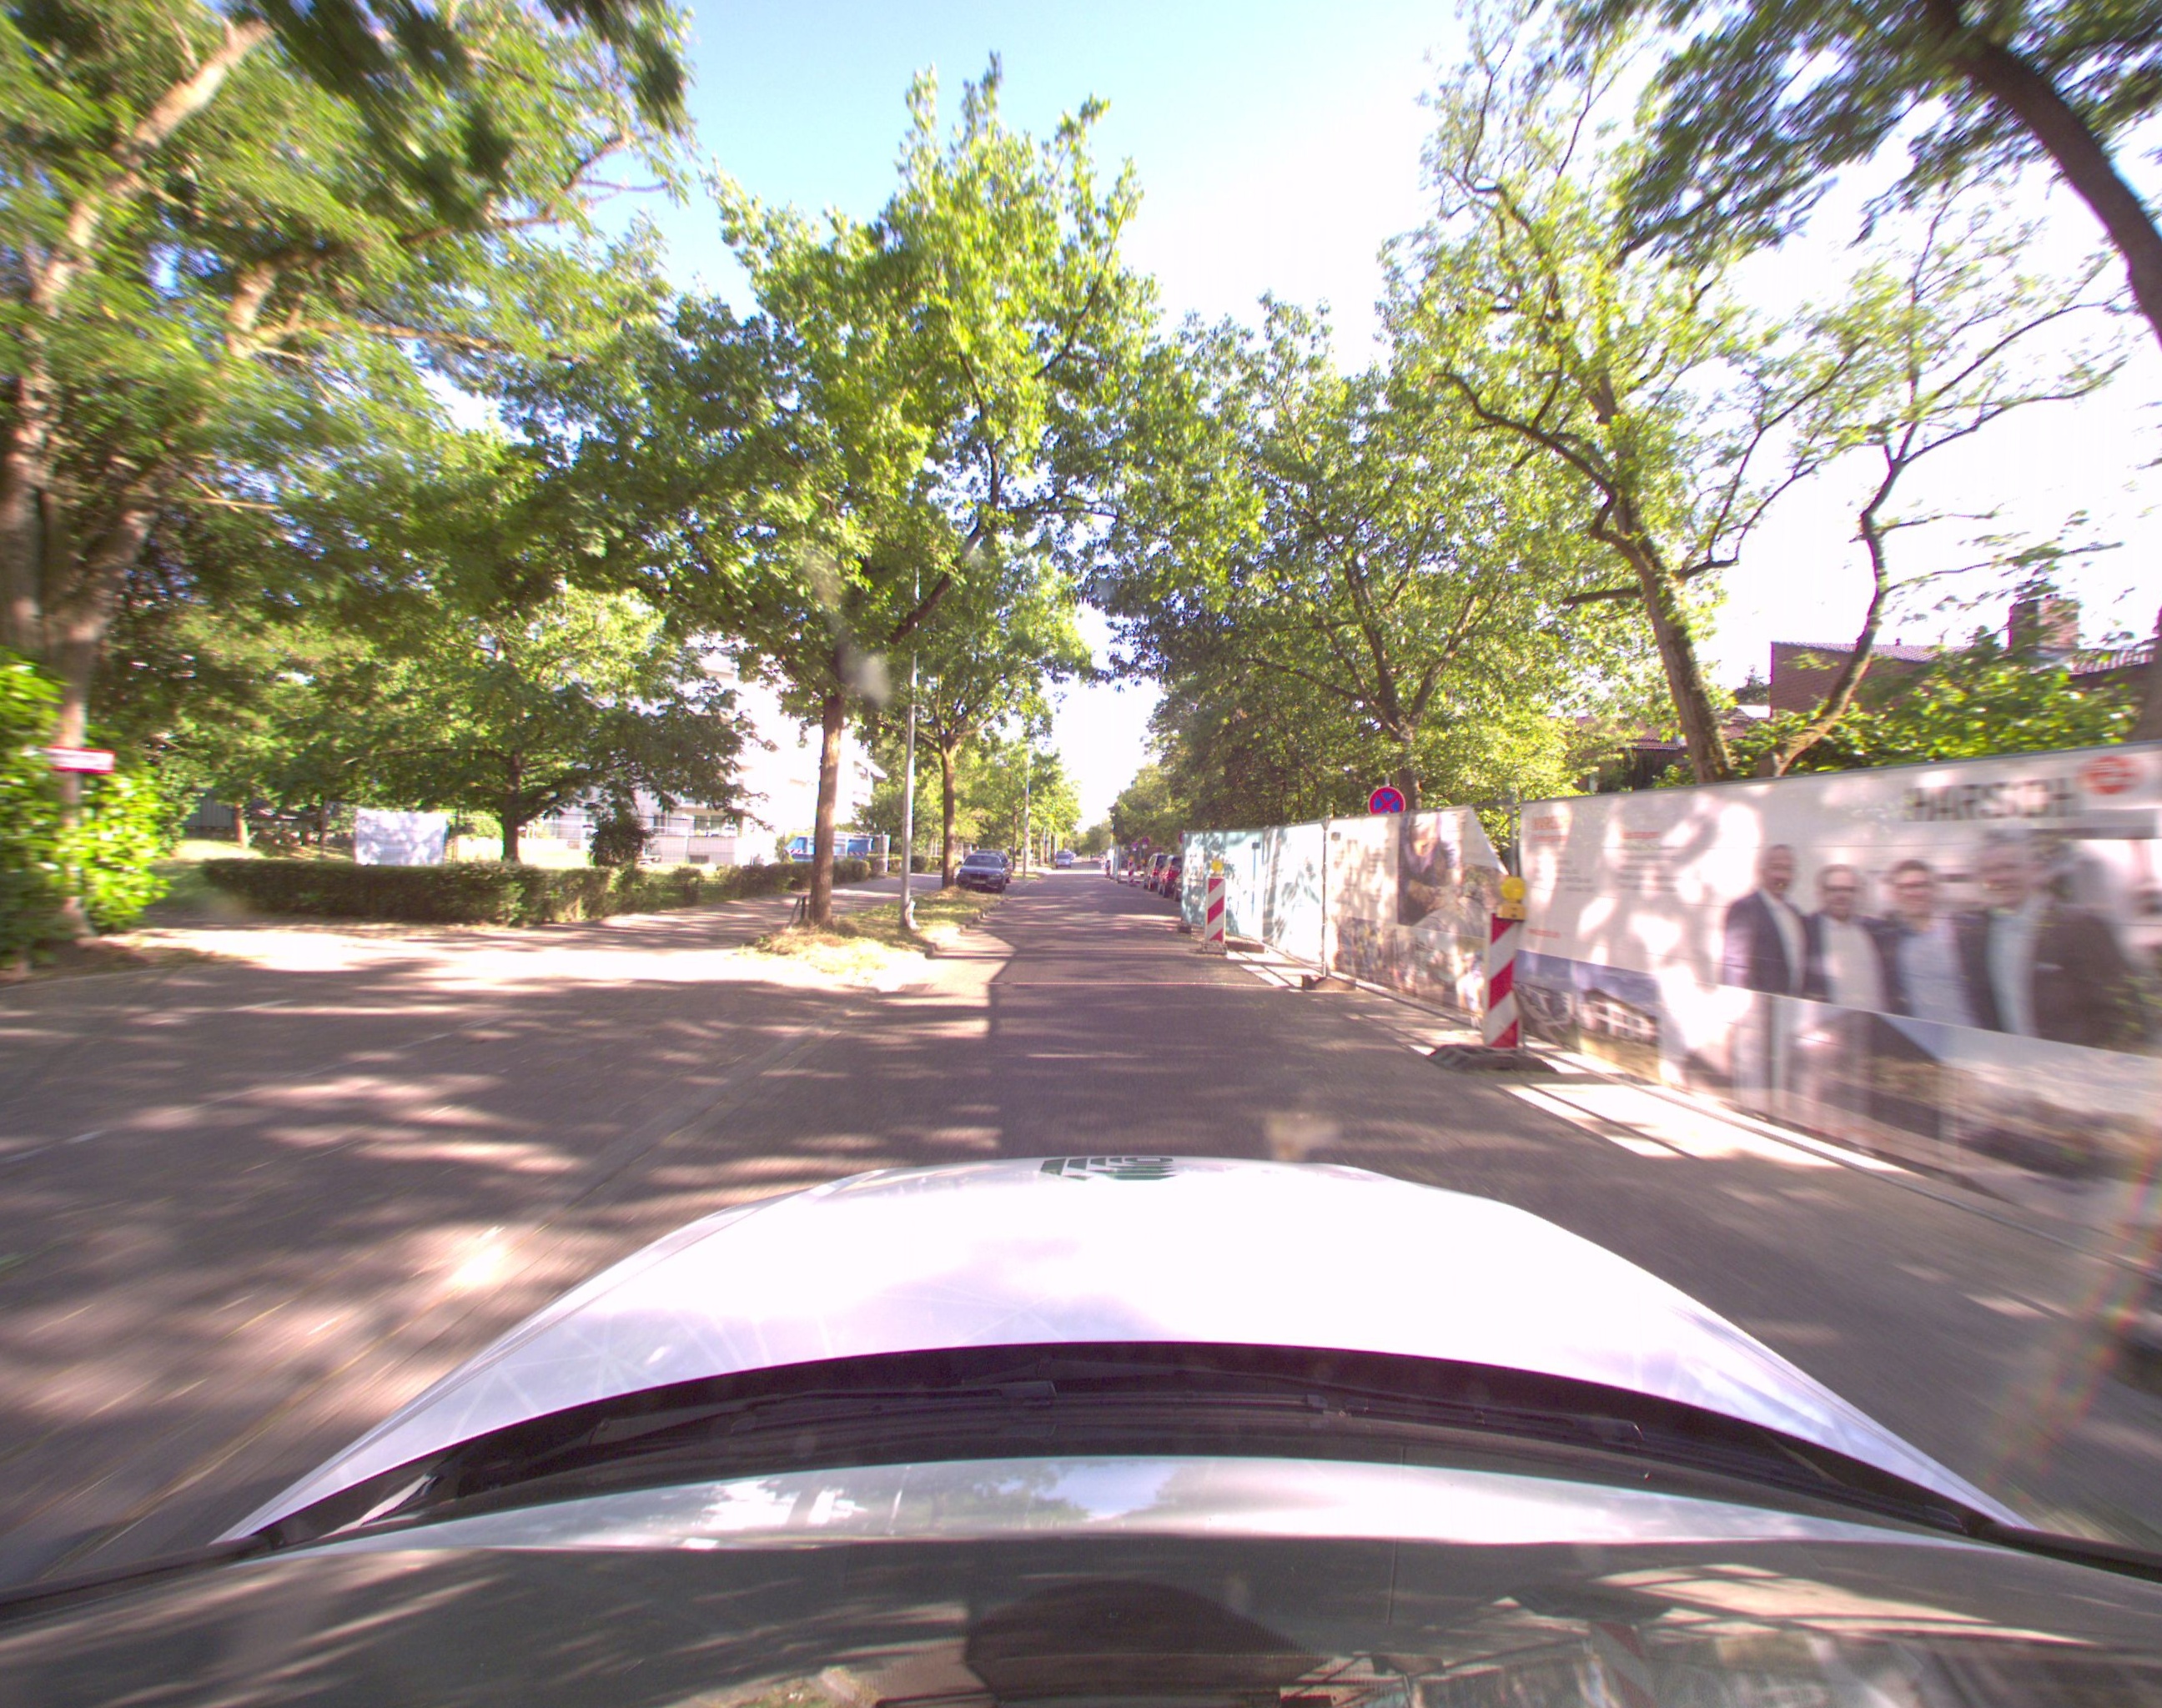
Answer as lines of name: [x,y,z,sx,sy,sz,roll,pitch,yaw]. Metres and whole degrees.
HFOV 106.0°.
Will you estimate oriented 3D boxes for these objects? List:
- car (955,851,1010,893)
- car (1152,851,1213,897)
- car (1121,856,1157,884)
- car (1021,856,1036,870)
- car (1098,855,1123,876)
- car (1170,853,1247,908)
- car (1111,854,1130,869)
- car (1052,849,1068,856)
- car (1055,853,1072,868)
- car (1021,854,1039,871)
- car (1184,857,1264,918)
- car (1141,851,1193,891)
car: [-3.725,0.668,31.371,1.746,1.478,3.834,1,0,-2]
car: [3.778,0.723,30.802,1.748,1.595,3.655,1,0,-2]
car: [2.907,0.786,41.367,1.358,1.302,3.477,2,-1,-3]
car: [-5.066,0.850,78.429,1.358,1.302,3.477,2,-1,-3]
car: [1.927,0.789,54.310,1.358,1.302,3.477,2,-1,-3]
car: [3.992,0.792,26.056,1.748,1.595,3.655,1,0,-2]
car: [4.052,0.753,84.334,1.788,1.409,4.001,1,0,1]
car: [-5.277,-0.353,204.791,3.712,1.690,1.575,2,0,-11]
car: [-1.970,0.770,91.853,1.707,1.585,3.994,2,-1,-4]
car: [-4.150,0.721,66.723,1.358,1.302,3.477,2,-1,-3]
car: [3.736,0.835,21.746,1.497,1.478,3.056,1,0,-2]
car: [3.691,0.712,35.479,1.748,1.595,3.655,1,0,-2]
